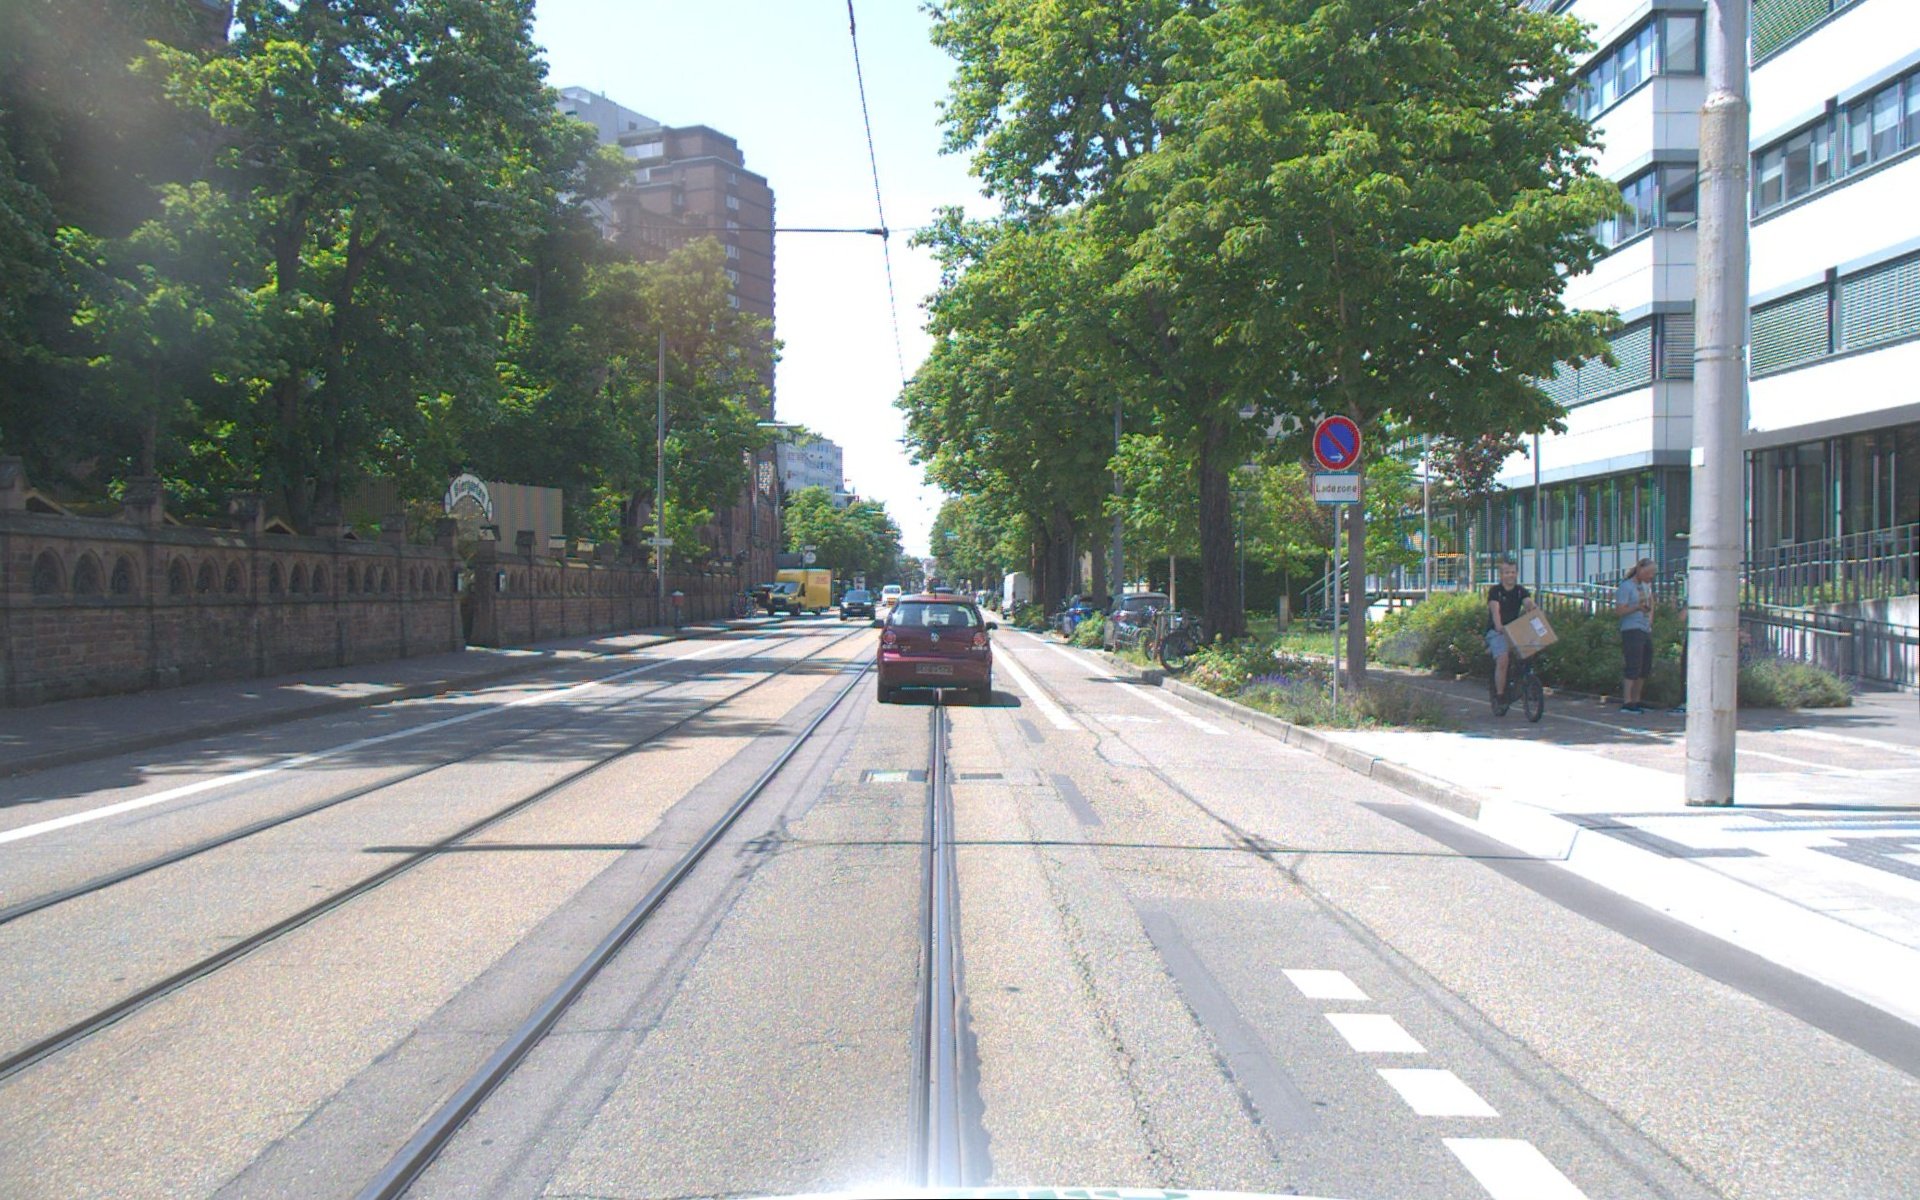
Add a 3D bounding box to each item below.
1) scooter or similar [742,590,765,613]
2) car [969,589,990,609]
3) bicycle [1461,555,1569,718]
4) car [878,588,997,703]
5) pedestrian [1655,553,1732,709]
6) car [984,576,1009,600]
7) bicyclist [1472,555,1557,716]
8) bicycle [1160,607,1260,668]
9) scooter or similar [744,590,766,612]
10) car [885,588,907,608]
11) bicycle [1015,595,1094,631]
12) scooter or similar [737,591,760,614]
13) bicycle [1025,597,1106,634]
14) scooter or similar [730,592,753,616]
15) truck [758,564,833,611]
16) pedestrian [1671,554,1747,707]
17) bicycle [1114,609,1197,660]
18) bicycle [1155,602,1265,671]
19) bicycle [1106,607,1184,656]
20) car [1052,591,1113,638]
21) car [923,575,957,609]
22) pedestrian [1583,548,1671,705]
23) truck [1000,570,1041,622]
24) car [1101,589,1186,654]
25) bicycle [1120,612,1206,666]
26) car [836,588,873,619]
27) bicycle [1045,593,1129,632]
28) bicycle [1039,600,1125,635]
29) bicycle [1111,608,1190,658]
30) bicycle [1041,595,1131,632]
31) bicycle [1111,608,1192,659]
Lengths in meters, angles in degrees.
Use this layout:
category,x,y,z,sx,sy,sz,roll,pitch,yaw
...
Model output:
category,x,y,z,sx,sy,sz,roll,pitch,yaw
scooter or similar,-11.051,0.080,88.522,1.073,1.175,0.524,1,0,-22
car,1.672,-0.099,140.547,1.640,1.685,3.999,1,1,-1
bicycle,6.508,0.416,19.497,0.675,1.816,1.811,-2,0,2
car,-0.346,0.589,23.997,1.586,1.512,3.999,0,0,-1
pedestrian,8.376,0.346,18.898,0.531,1.745,0.560,-1,0,-30
car,2.708,-0.914,123.259,1.640,1.685,3.999,1,1,-1
bicyclist,6.514,0.406,19.457,0.682,1.831,0.888,-2,-1,2
bicycle,4.649,0.700,30.845,1.787,1.104,0.719,0,-1,2
scooter or similar,-11.051,0.045,89.105,1.073,1.175,0.524,1,0,-22
car,-5.995,-0.211,154.760,1.953,1.887,4.681,0,0,-1
bicycle,3.682,0.507,64.724,3.008,1.336,0.781,1,0,-3
scooter or similar,-11.205,0.135,87.662,1.073,1.175,0.524,1,0,-22
bicycle,4.040,0.577,63.616,3.008,1.336,0.781,1,0,-3
scooter or similar,-11.248,0.200,85.046,1.073,1.175,0.524,1,0,-22
truck,-10.228,-0.750,103.643,2.319,2.835,7.325,0,0,14
pedestrian,8.760,0.353,19.347,0.531,1.745,0.560,-1,0,-30
bicycle,4.234,0.744,35.845,1.715,1.104,0.548,0,0,-1
bicycle,4.475,0.643,29.681,1.845,1.203,0.694,-1,0,-1
bicycle,4.233,0.709,37.833,1.715,1.104,0.548,0,0,-1
car,3.966,0.443,54.171,1.654,1.494,3.879,0,0,-1
car,-1.283,-0.512,105.041,1.954,2.049,3.998,1,1,-3
pedestrian,7.984,0.313,19.801,0.671,1.828,0.667,-2,0,-32
truck,3.309,-0.242,91.419,1.953,2.708,4.874,1,1,-1
car,4.610,0.506,41.874,1.654,1.529,3.627,-2,0,-1
bicycle,4.243,0.810,34.634,1.715,1.104,0.548,0,0,-1
car,-5.507,0.163,86.812,1.734,1.542,3.999,0,0,-1
bicycle,4.662,0.461,60.818,3.008,1.336,0.781,1,0,-3
bicycle,4.391,0.643,59.622,3.008,1.175,0.781,1,0,-3
bicycle,4.272,0.730,37.096,1.715,1.104,0.548,0,0,-1
bicycle,4.777,0.503,62.618,3.300,1.336,0.781,1,0,-3
bicycle,4.219,0.743,36.476,1.715,1.104,0.548,0,0,-1
